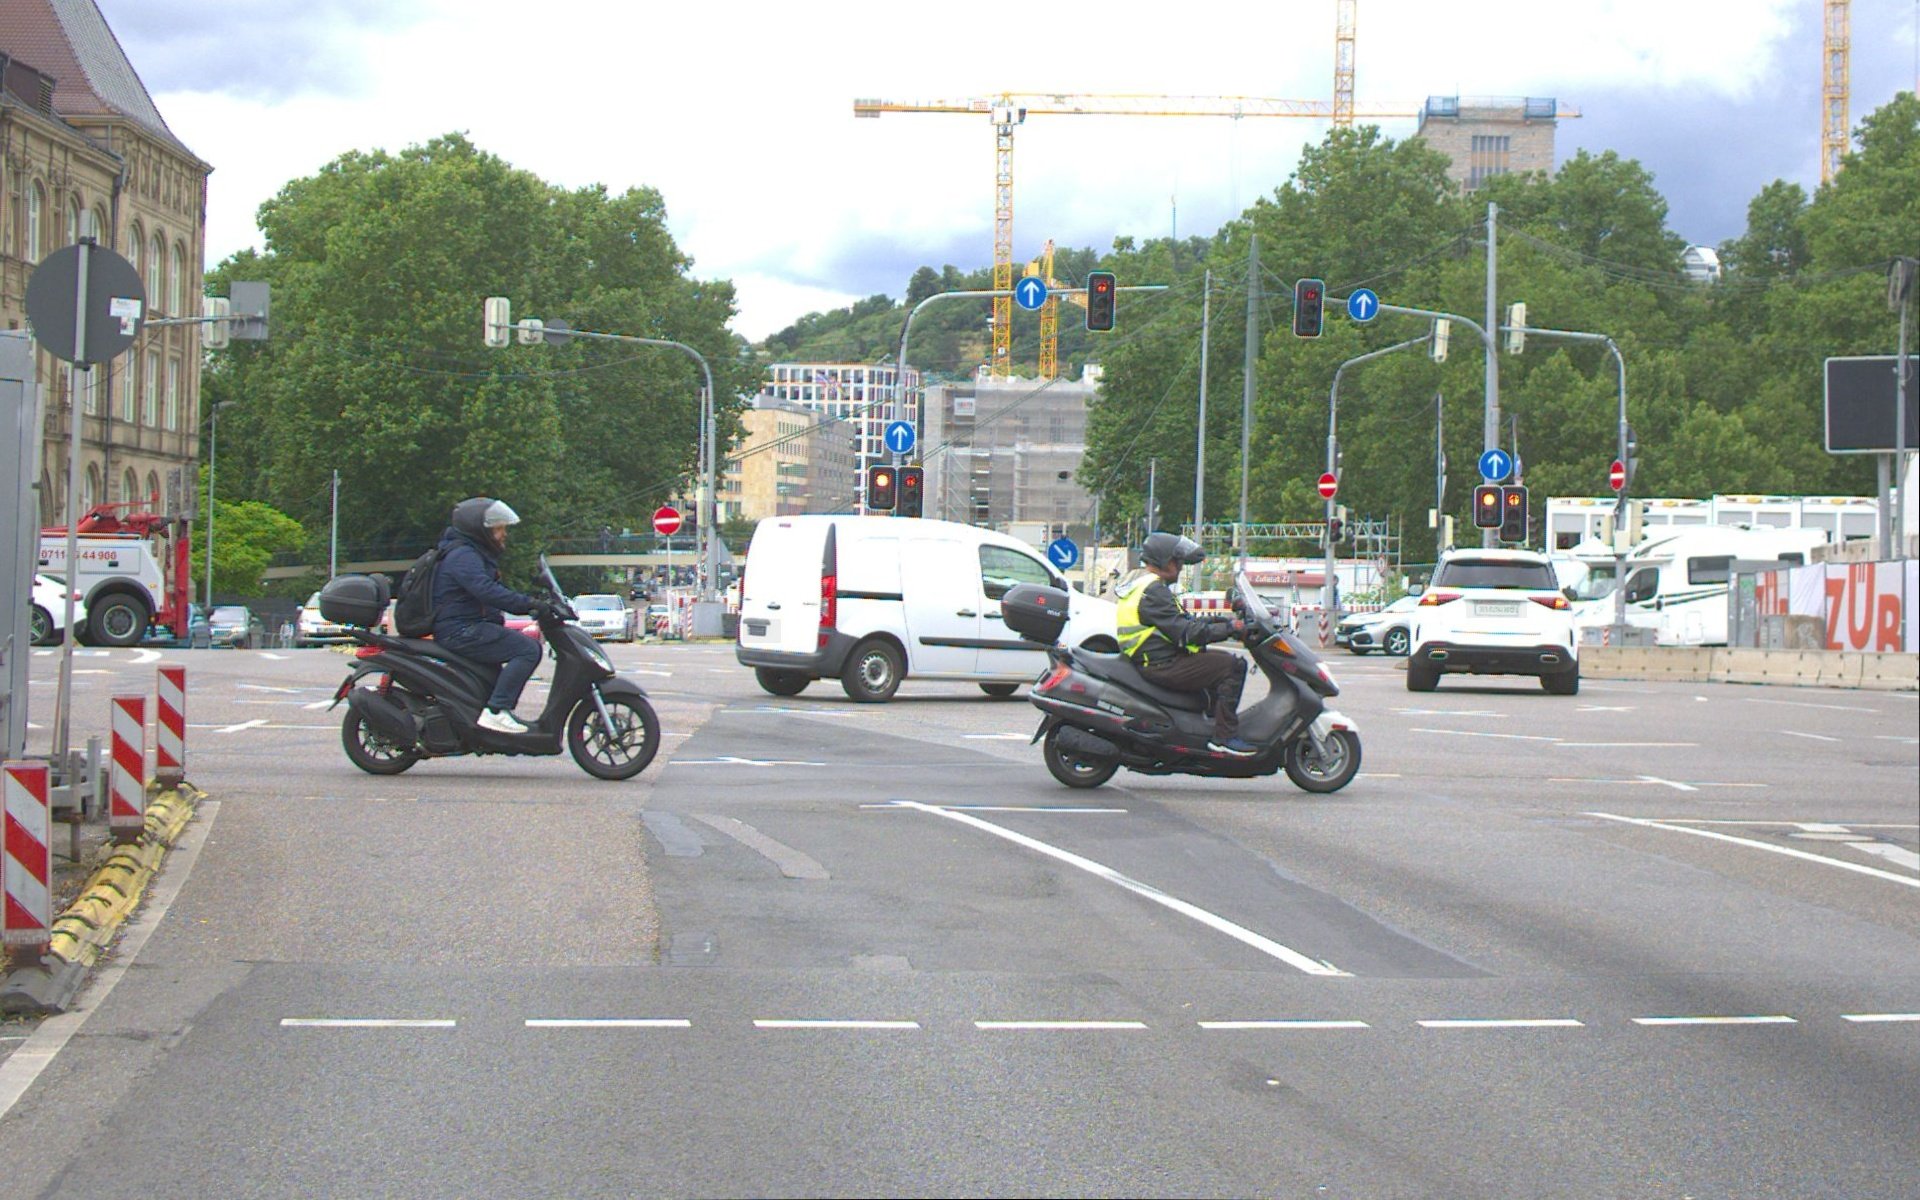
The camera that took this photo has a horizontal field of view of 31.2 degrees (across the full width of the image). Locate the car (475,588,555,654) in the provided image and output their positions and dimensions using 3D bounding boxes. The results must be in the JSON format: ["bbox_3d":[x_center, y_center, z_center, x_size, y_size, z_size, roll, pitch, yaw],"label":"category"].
[{"bbox_3d":[-12.950,0.583,100.253,1.993,1.831,4.001,1,1,-3],"label":"car"}]

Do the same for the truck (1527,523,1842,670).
[{"bbox_3d":[15.962,-0.068,75.669,6.580,3.135,2.368,1,0,-23],"label":"truck"}]

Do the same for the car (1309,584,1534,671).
[{"bbox_3d":[10.305,0.612,76.795,4.564,1.768,2.001,1,2,-25],"label":"car"}]

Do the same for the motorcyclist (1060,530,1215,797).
[{"bbox_3d":[1.063,0.372,20.733,0.878,1.565,0.817,1,0,0],"label":"motorcyclist"}]

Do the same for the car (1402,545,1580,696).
[{"bbox_3d":[6.557,0.221,42.854,1.994,1.753,4.504,1,1,7],"label":"car"}]

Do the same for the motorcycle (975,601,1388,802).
[{"bbox_3d":[1.311,0.599,20.734,2.422,1.151,0.817,1,0,0],"label":"motorcycle"}]

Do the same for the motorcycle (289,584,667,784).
[{"bbox_3d":[-2.890,0.495,20.730,2.167,1.151,0.652,1,0,0],"label":"motorcycle"}]

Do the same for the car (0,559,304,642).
[{"bbox_3d":[-14.695,0.007,62.325,5.132,1.415,2.238,1,1,-23],"label":"car"}]

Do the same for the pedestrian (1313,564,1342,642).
[{"bbox_3d":[8.708,0.073,81.468,0.585,1.834,0.604,1,0,-4],"label":"pedestrian"}]

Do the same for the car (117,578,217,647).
[{"bbox_3d":[-21.759,0.326,94.435,1.993,1.831,4.001,1,1,-3],"label":"car"}]

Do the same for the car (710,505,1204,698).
[{"bbox_3d":[0.010,0.012,34.549,4.707,1.827,1.870,0,1,-34],"label":"car"}]

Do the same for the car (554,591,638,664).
[{"bbox_3d":[-9.636,0.720,91.238,1.993,1.831,4.001,1,1,-3],"label":"car"}]

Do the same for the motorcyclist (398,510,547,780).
[{"bbox_3d":[-2.931,0.266,20.722,0.786,1.591,0.652,1,0,0],"label":"motorcyclist"}]

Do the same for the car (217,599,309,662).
[{"bbox_3d":[-21.633,0.931,106.806,1.993,1.831,4.000,1,1,1],"label":"car"}]

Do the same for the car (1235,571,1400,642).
[{"bbox_3d":[9.566,0.164,92.056,3.997,1.831,1.995,1,1,44],"label":"car"}]

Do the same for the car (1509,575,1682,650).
[{"bbox_3d":[16.249,0.298,87.875,3.991,1.831,1.998,1,1,22],"label":"car"}]

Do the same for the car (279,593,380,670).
[{"bbox_3d":[-15.788,0.763,86.247,1.993,1.831,4.001,1,1,-3],"label":"car"}]

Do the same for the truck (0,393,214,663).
[{"bbox_3d":[-19.122,-1.358,64.123,9.712,4.943,3.114,1,0,-23],"label":"truck"}]
